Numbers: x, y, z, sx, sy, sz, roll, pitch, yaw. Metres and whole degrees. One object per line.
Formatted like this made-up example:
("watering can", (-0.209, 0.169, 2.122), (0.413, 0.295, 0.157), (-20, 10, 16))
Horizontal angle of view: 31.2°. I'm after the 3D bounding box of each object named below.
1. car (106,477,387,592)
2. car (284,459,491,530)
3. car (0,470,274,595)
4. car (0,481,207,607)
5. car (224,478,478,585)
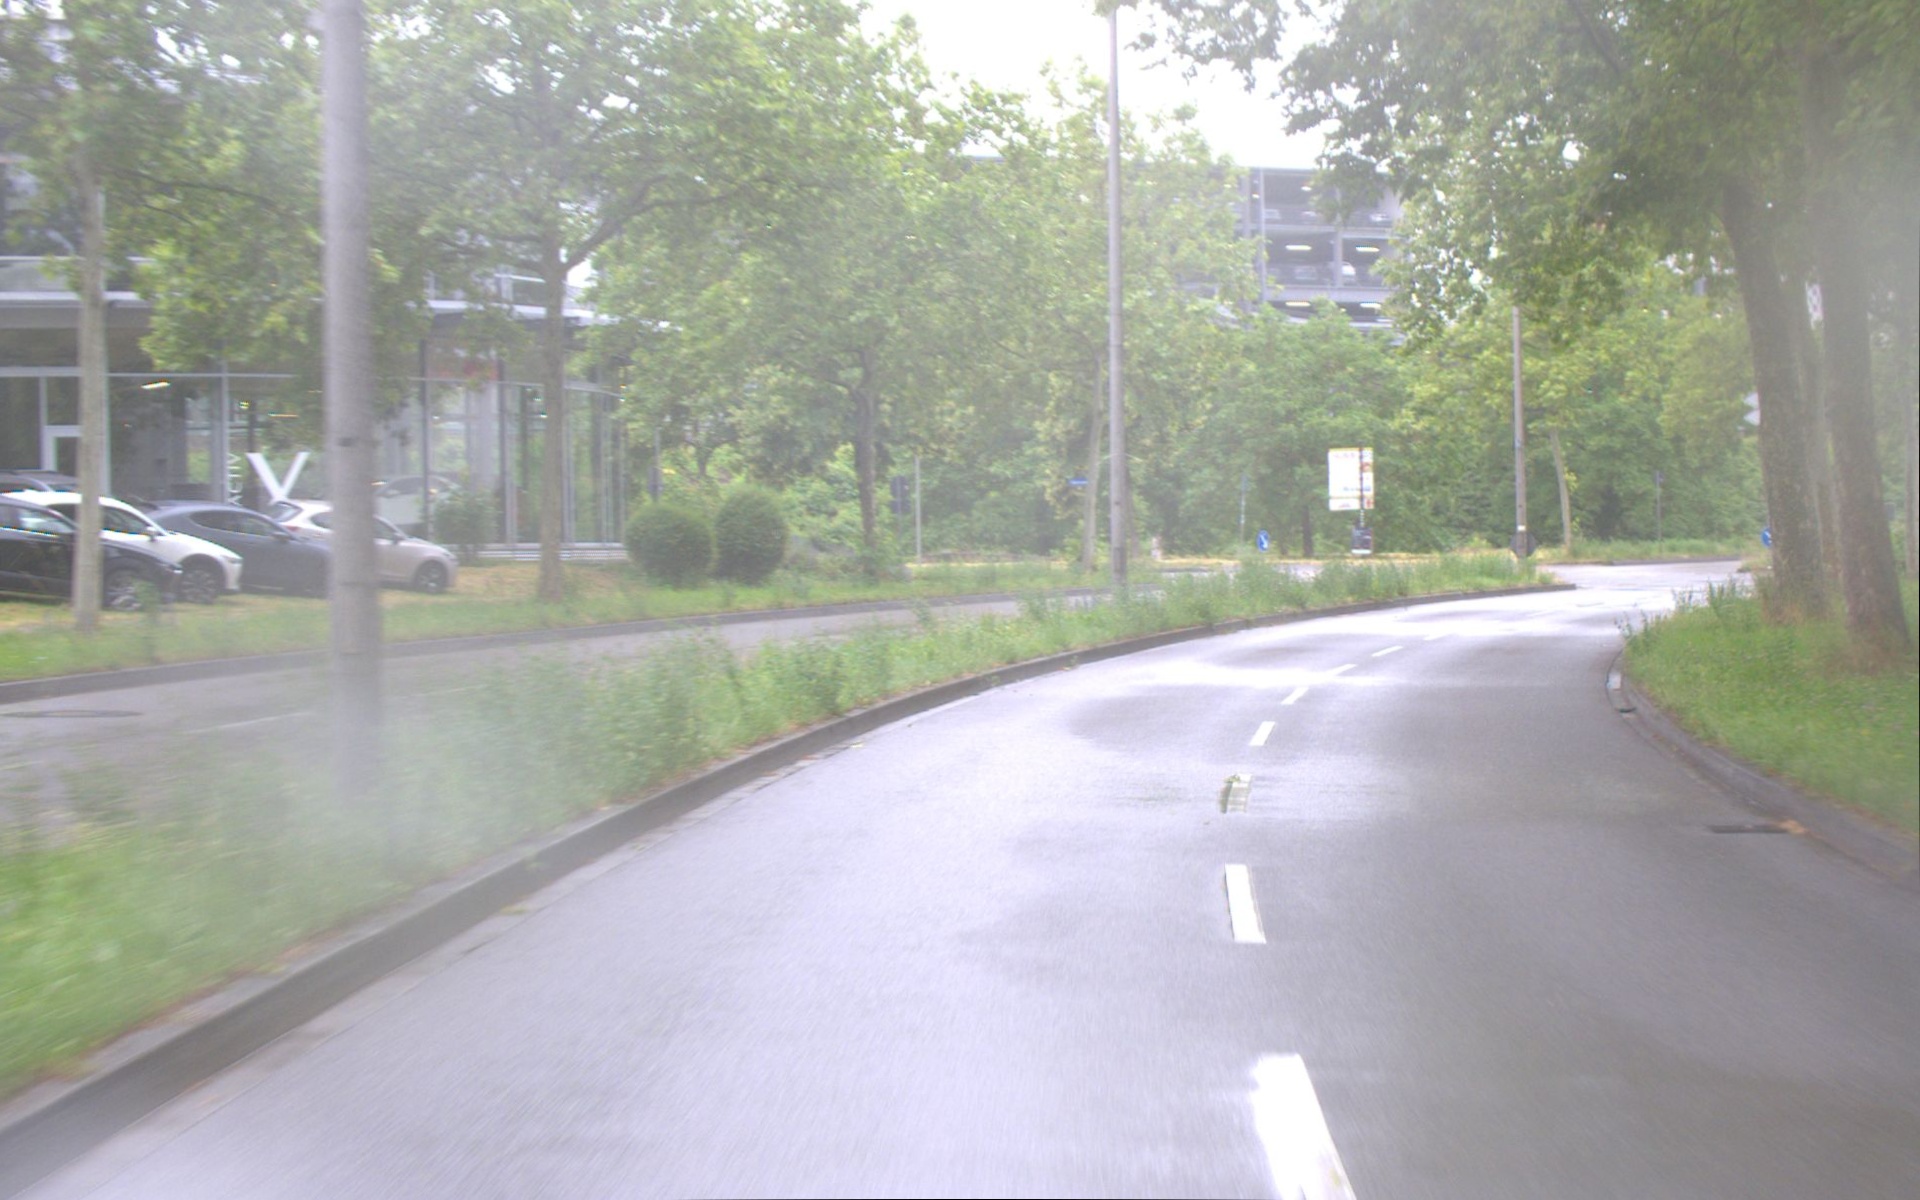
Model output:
("car", (-11.921, -1.092, 57.477), (4.115, 1.417, 1.848), (5, 4, -30))
("car", (-12.110, -2.221, 72.863), (1.783, 1.471, 4.102), (1, 2, 43))
("car", (-13.062, -1.065, 53.632), (4.116, 1.474, 1.848), (5, 4, -33))
("car", (-13.441, -0.894, 50.711), (4.115, 1.474, 1.848), (5, 4, -26))
("car", (-10.902, -1.219, 61.659), (3.987, 1.470, 1.785), (4, 4, -38))
